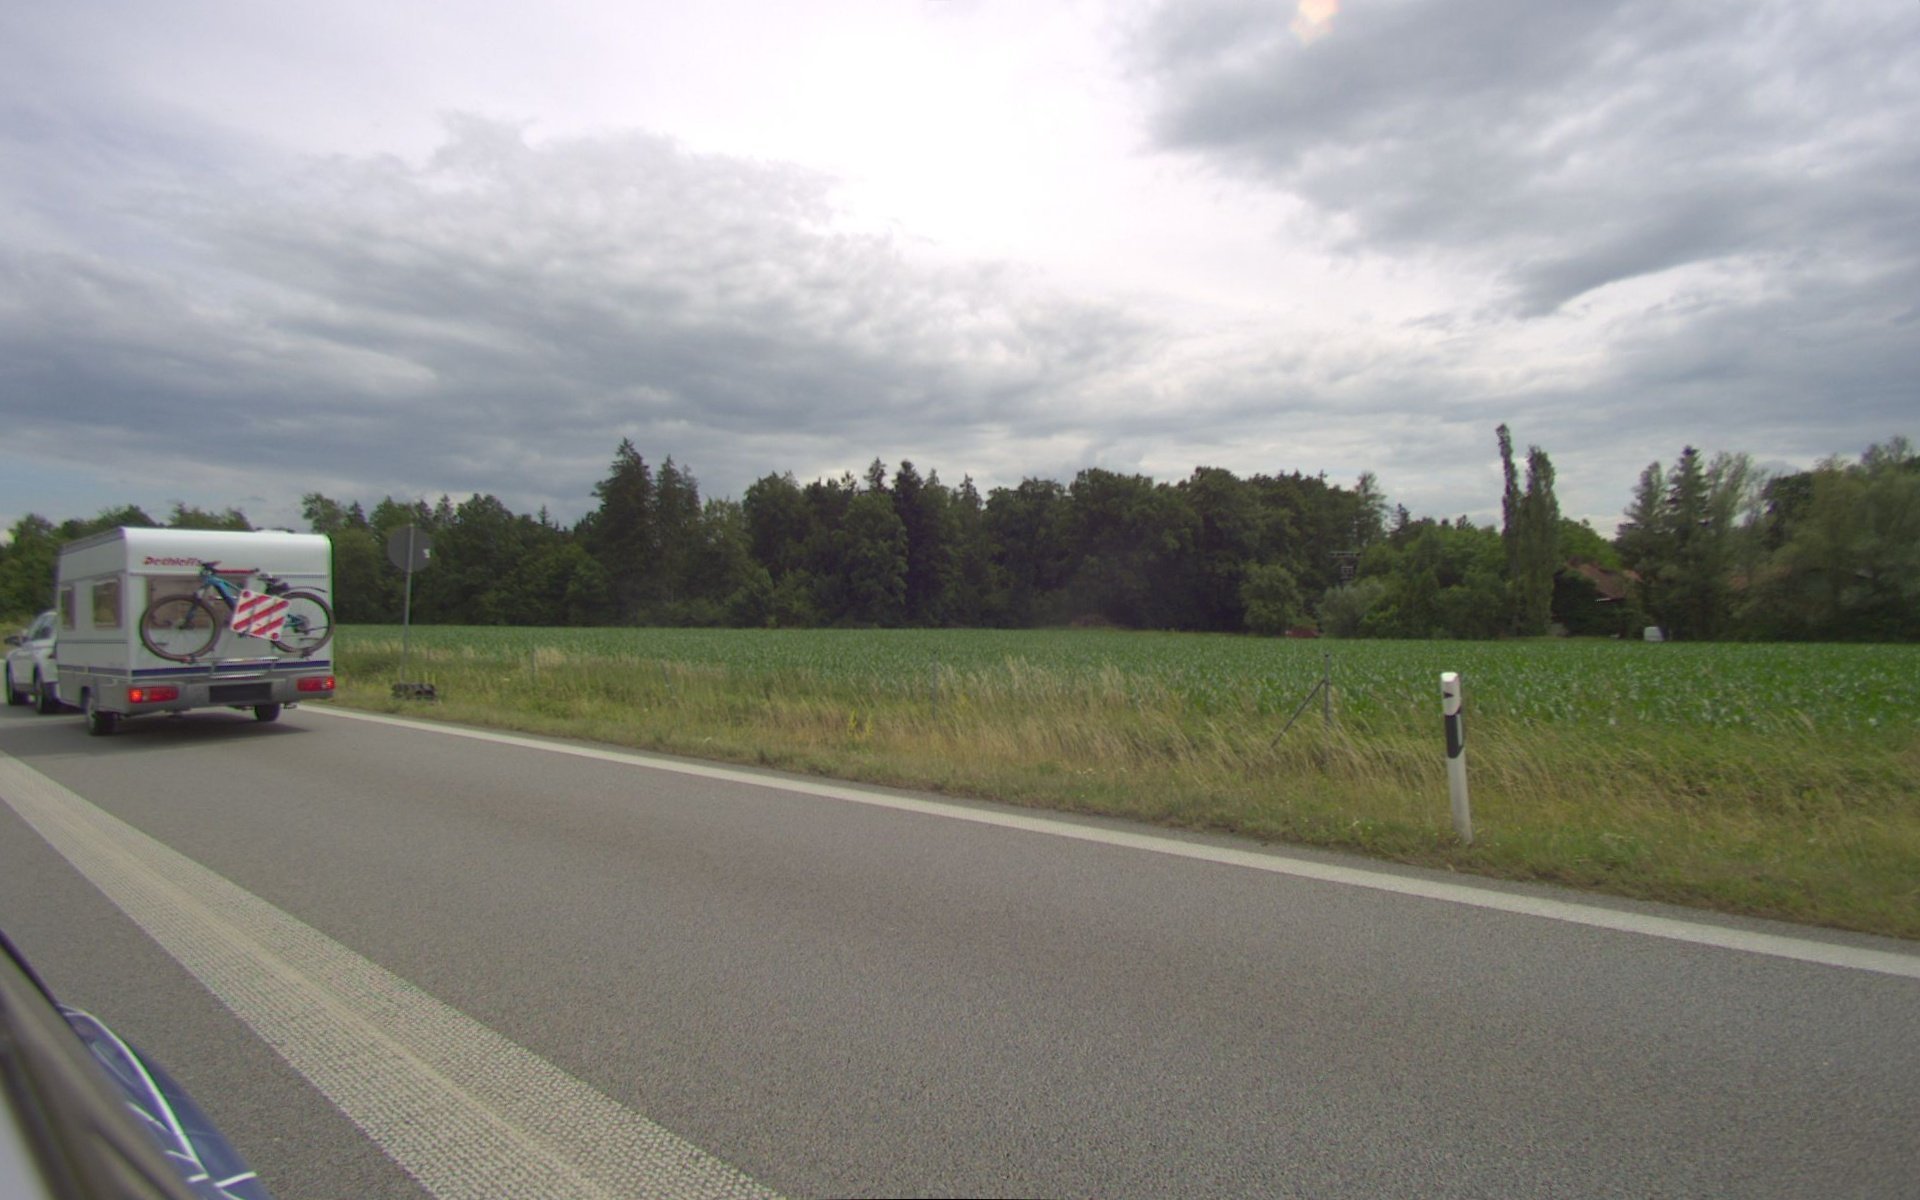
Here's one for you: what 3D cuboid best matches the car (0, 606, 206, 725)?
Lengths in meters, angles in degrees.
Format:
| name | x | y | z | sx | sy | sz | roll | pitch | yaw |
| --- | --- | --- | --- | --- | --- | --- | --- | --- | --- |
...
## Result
| name | x | y | z | sx | sy | sz | roll | pitch | yaw |
| --- | --- | --- | --- | --- | --- | --- | --- | --- | --- |
| car | -14.260 | 0.969 | 16.718 | 4.324 | 1.670 | 1.986 | -1 | 0 | 41 |

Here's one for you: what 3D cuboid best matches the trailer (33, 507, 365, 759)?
| name | x | y | z | sx | sy | sz | roll | pitch | yaw |
| --- | --- | --- | --- | --- | --- | --- | --- | --- | --- |
| trailer | -10.194 | 0.360 | 13.290 | 6.239 | 2.594 | 2.160 | -1 | 0 | 41 |
